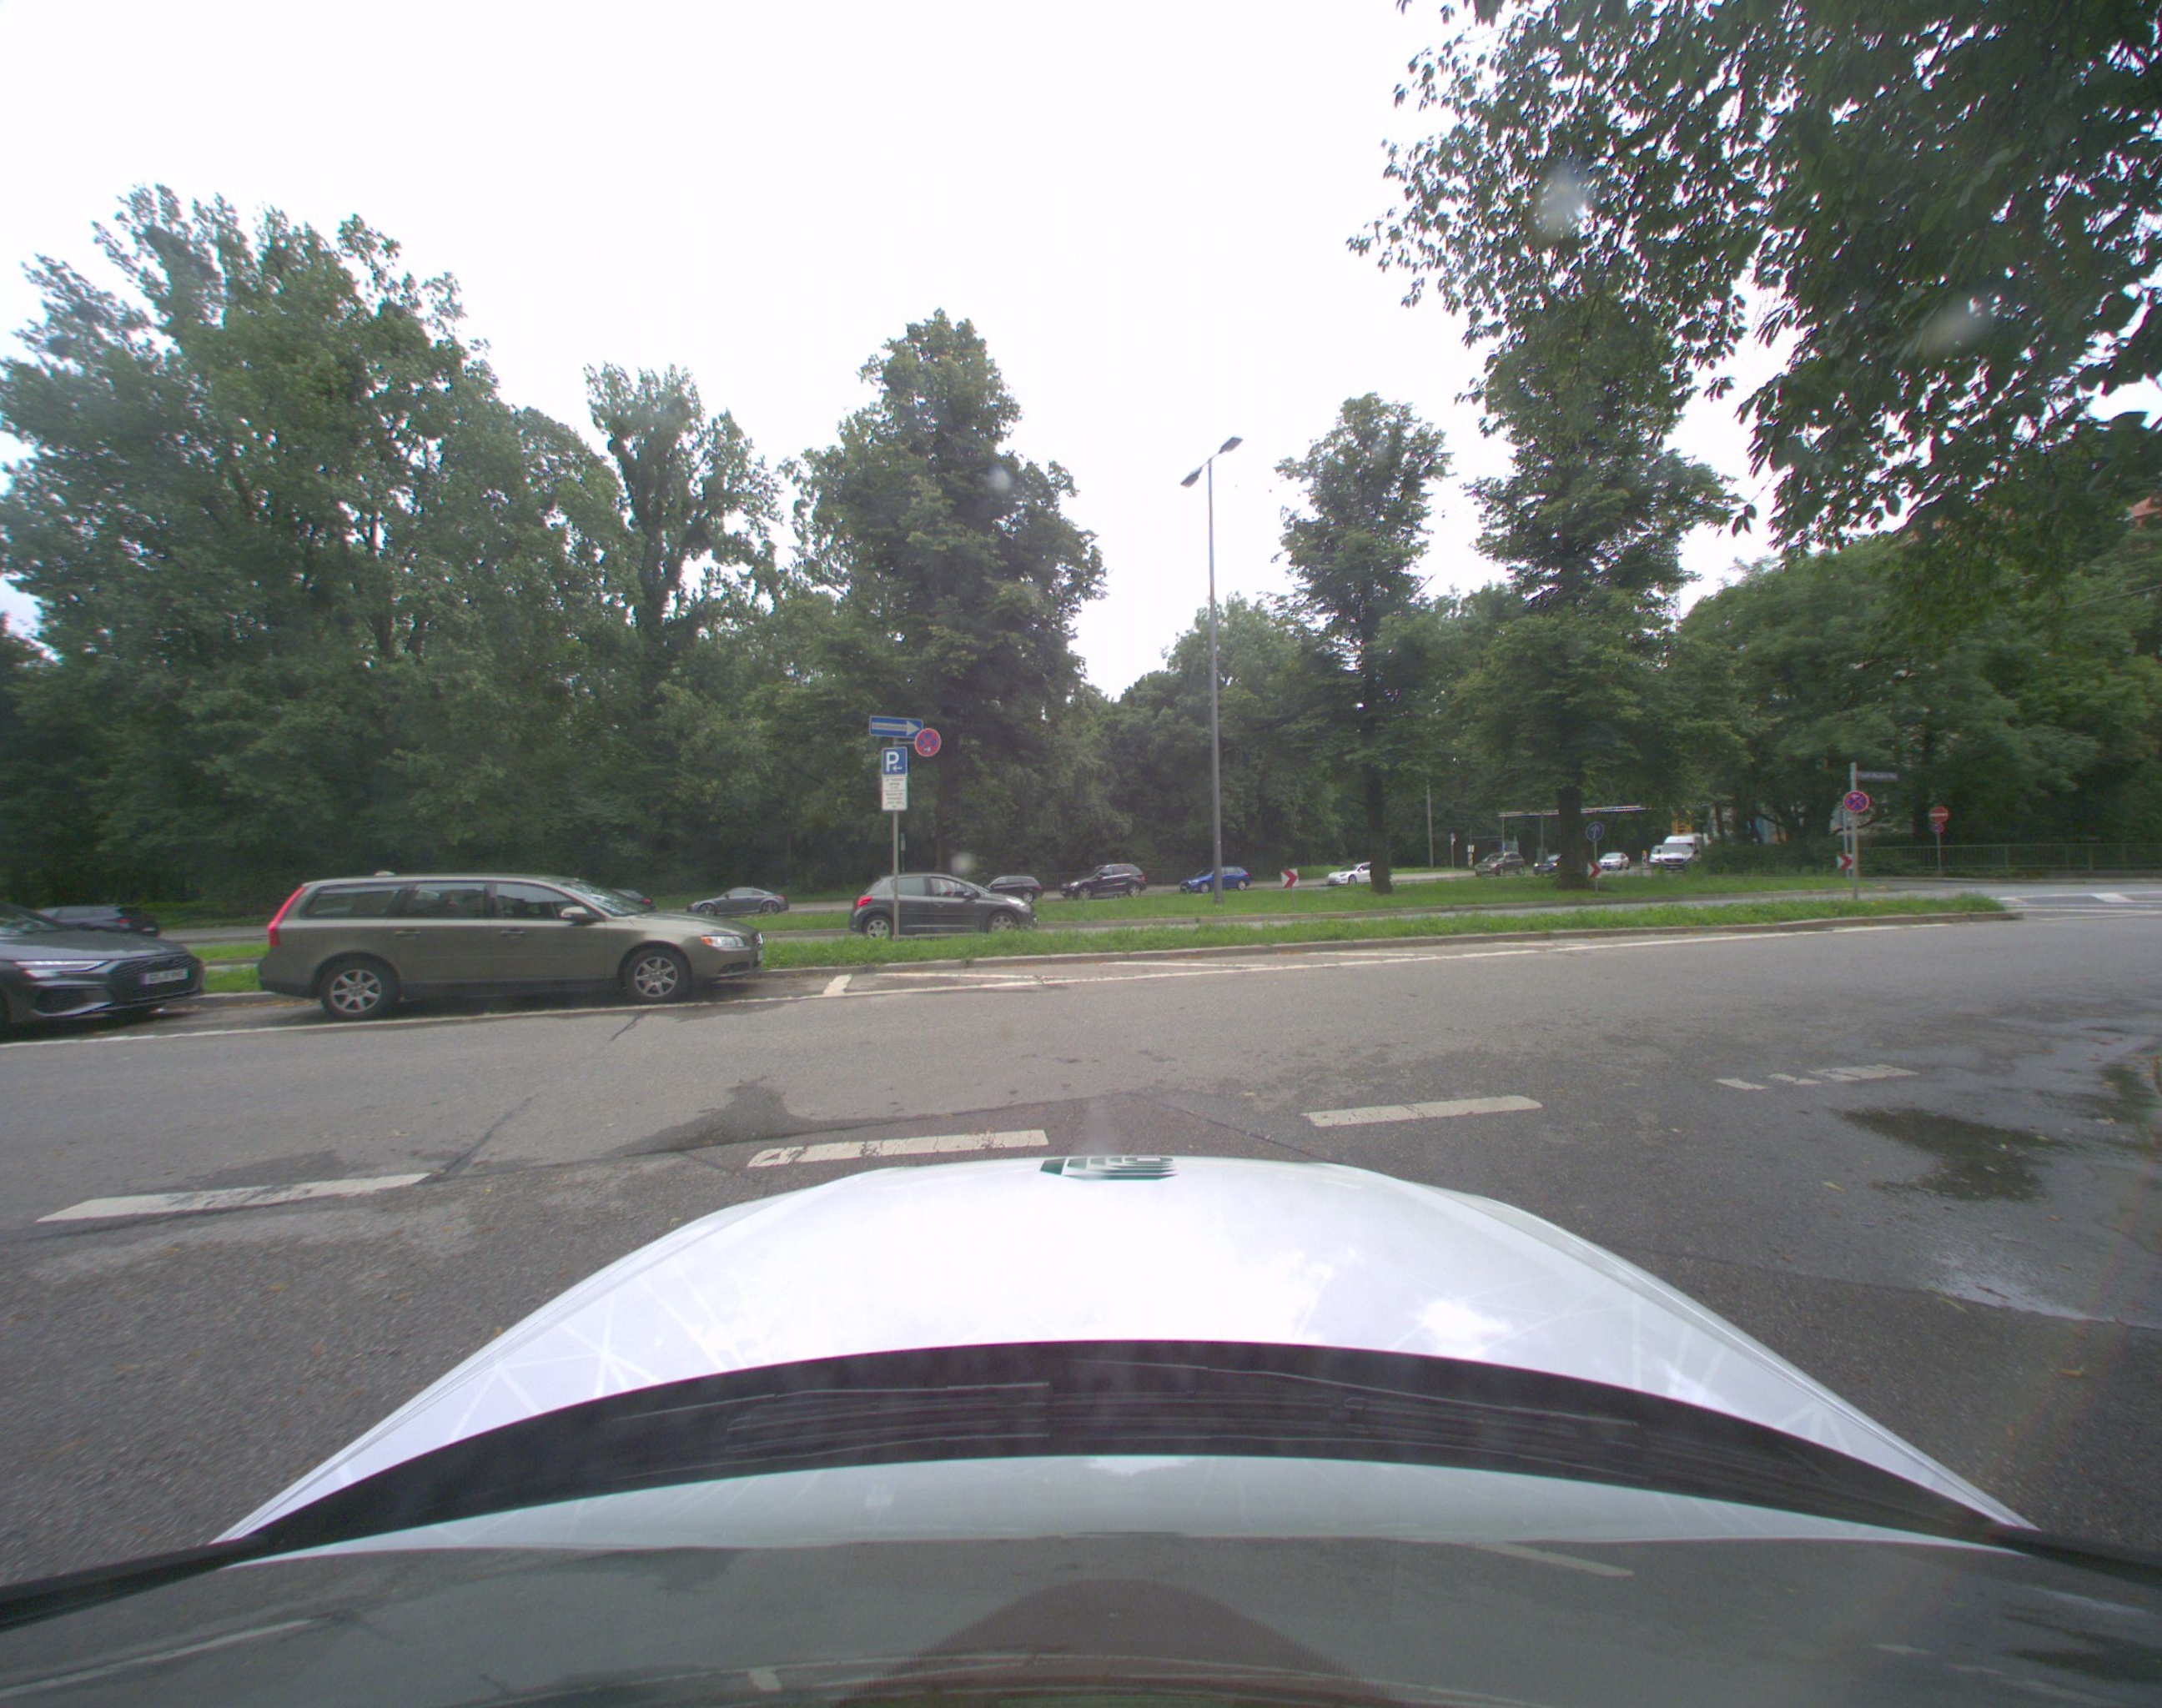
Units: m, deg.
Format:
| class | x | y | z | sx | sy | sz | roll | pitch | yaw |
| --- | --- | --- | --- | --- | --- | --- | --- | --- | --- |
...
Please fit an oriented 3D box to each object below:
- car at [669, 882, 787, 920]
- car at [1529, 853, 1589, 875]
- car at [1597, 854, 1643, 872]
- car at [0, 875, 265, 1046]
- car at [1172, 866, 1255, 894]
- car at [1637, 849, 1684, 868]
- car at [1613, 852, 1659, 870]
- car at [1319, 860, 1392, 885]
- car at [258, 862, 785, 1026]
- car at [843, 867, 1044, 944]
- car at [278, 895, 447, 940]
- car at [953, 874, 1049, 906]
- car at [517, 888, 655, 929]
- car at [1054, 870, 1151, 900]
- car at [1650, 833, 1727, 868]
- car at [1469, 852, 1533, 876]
| class | x | y | z | sx | sy | sz | roll | pitch | yaw |
| --- | --- | --- | --- | --- | --- | --- | --- | --- | --- |
| car | -15.184 | 1.986 | 35.260 | 4.529 | 1.447 | 1.985 | -1 | -2 | -22 |
| car | 33.557 | 0.681 | 57.145 | 4.045 | 1.446 | 1.879 | -1 | -1 | -30 |
| car | 44.754 | 0.728 | 67.592 | 4.255 | 1.447 | 1.813 | 0 | -3 | -37 |
| car | -11.565 | 1.038 | 8.208 | 4.273 | 1.565 | 1.985 | -1 | -1 | -13 |
| car | 7.639 | 1.493 | 46.959 | 4.436 | 1.447 | 1.981 | -1 | -2 | -30 |
| car | 47.316 | 0.385 | 66.428 | 4.319 | 1.446 | 1.876 | -1 | -2 | -37 |
| car | 49.085 | 0.629 | 71.965 | 4.444 | 1.447 | 1.977 | 0 | -3 | -37 |
| car | 17.620 | 1.175 | 52.221 | 4.436 | 1.447 | 1.981 | -1 | -2 | -30 |
| car | -6.184 | 0.931 | 9.693 | 4.760 | 1.565 | 1.896 | -1 | -1 | -13 |
| car | -2.950 | 1.065 | 17.611 | 4.065 | 1.461 | 1.756 | -1 | -1 | -13 |
| car | -26.794 | 2.326 | 30.576 | 4.322 | 1.447 | 1.985 | -1 | -2 | -23 |
| car | -3.960 | 1.773 | 40.514 | 4.329 | 1.447 | 1.981 | -1 | -2 | -29 |
| car | -20.120 | 2.192 | 33.350 | 4.529 | 1.447 | 1.985 | -1 | -2 | -22 |
| car | 1.151 | 1.624 | 43.141 | 4.781 | 1.447 | 1.981 | -1 | -2 | -29 |
| car | 41.780 | -0.259 | 55.982 | 5.143 | 2.270 | 2.286 | -1 | -1 | -30 |
| car | 31.406 | 0.744 | 60.827 | 4.662 | 1.718 | 1.981 | -1 | -2 | -30 |
